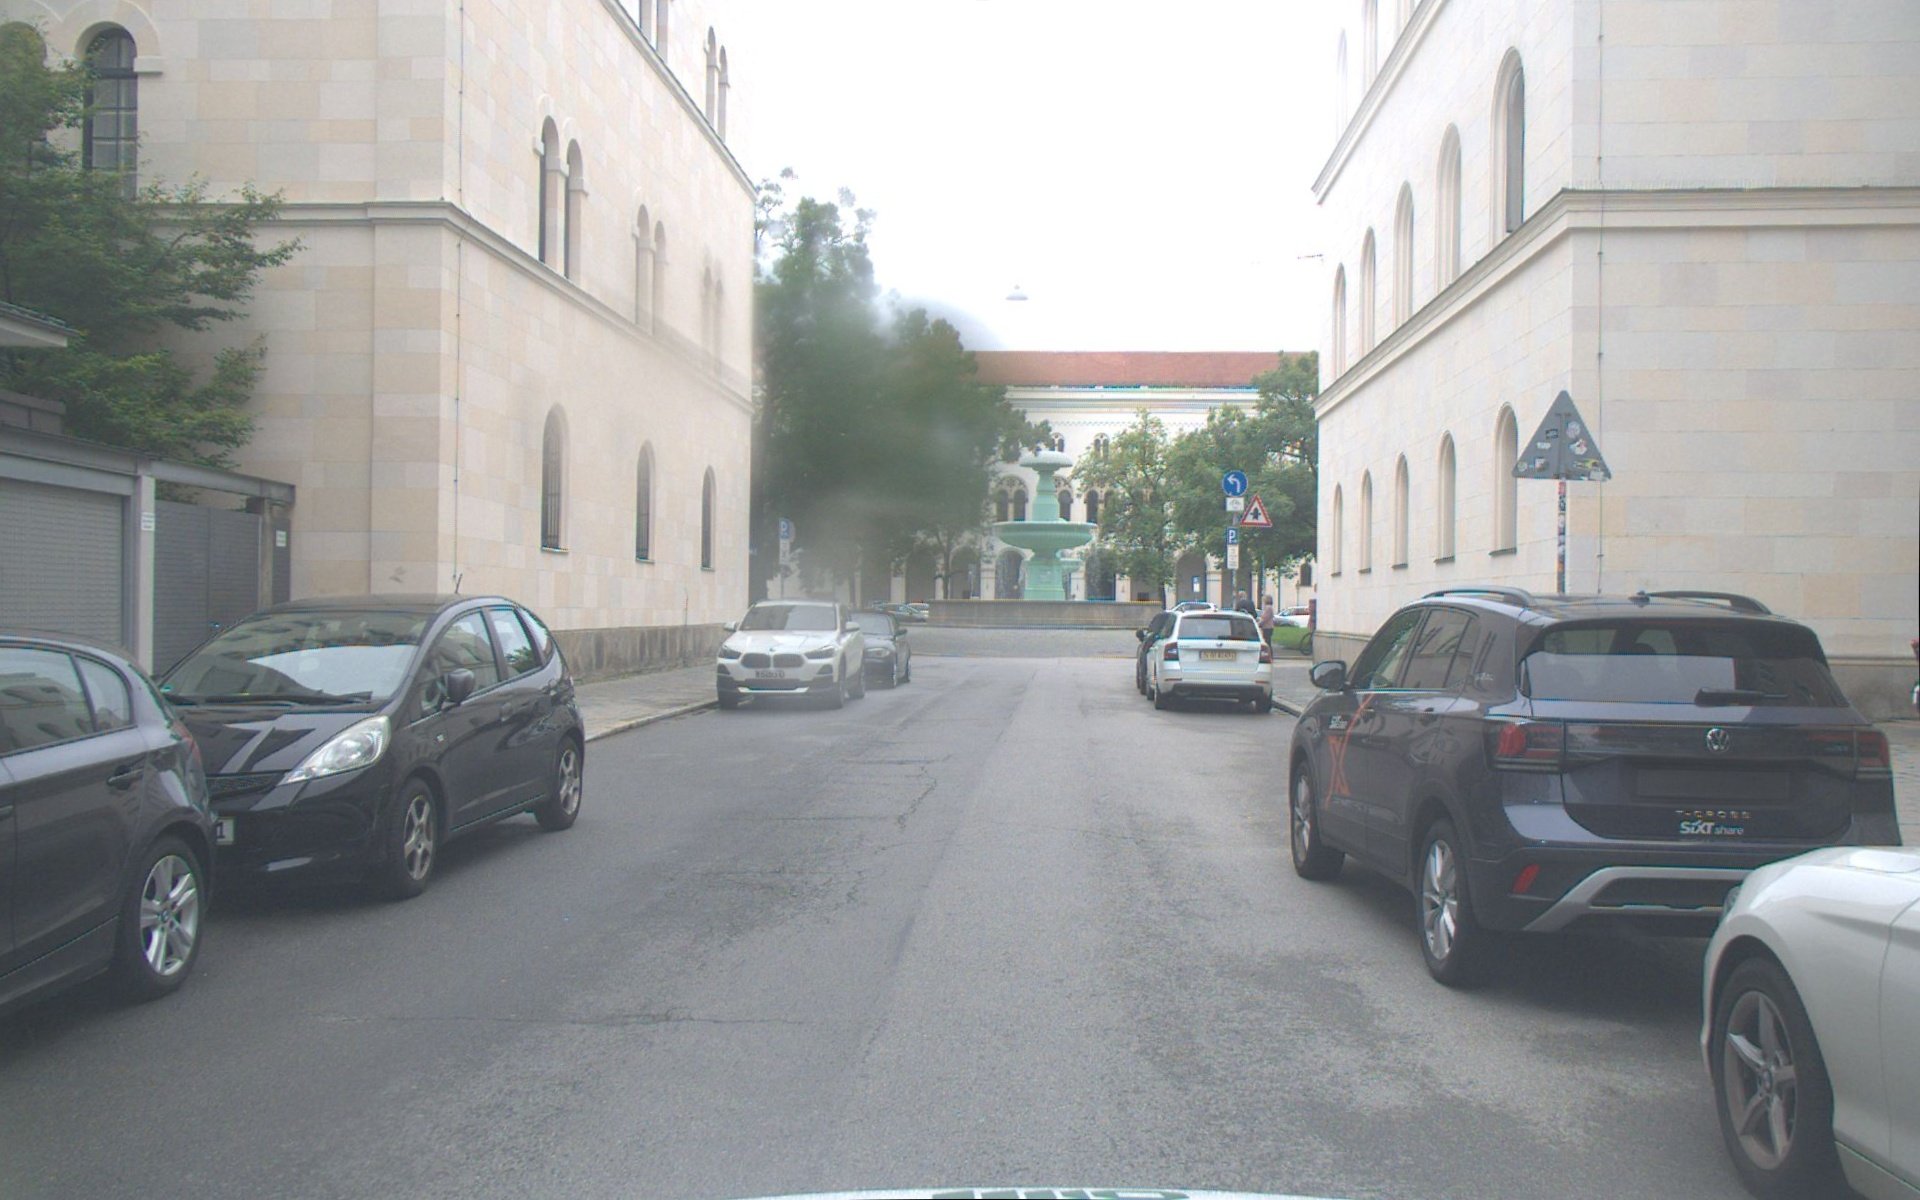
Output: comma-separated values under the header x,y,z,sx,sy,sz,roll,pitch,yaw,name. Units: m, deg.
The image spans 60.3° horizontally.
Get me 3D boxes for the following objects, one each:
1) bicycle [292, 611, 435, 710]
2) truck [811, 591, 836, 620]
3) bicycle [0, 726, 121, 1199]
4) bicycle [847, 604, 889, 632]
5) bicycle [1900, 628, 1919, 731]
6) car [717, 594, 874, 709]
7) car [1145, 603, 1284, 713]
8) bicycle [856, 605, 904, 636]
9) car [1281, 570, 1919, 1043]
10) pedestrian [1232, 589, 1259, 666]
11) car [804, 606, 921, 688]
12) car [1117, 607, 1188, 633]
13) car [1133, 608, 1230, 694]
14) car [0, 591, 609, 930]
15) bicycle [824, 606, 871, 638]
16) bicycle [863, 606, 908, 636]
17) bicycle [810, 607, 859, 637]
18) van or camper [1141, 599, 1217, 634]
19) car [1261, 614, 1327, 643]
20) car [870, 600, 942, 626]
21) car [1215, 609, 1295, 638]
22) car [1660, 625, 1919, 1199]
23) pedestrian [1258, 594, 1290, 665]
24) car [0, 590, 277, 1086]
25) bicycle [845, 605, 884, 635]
x,y,z,sx,sy,sz,roll,pitch,yaw,name
-7.414,0.744,20.557,1.675,1.198,0.476,0,0,13,bicycle
-12.294,0.486,148.881,1.956,2.532,3.994,1,0,-7,truck
-2.041,0.864,2.396,0.635,1.218,1.950,0,0,1,bicycle
-3.664,0.714,65.934,1.503,1.037,0.699,1,0,15,bicycle
10.698,0.817,17.185,1.595,1.060,0.349,-1,0,8,bicycle
-2.380,0.744,24.914,1.741,1.562,4.213,-1,-1,2,car
3.821,0.823,25.436,1.752,1.502,4.315,2,0,4,car
-3.059,0.772,63.269,1.673,1.118,0.699,1,0,15,bicycle
2.721,0.730,7.789,1.711,1.621,3.956,1,0,1,car
6.907,0.652,40.040,0.628,1.840,0.489,1,0,9,pedestrian
-1.760,0.852,31.141,1.663,1.417,4.213,-1,-1,4,car
10.799,1.110,92.833,3.902,1.427,1.826,0,0,6,car
3.987,0.888,30.158,1.508,1.451,3.774,1,0,4,car
-3.427,0.720,9.487,1.714,1.479,4.017,-1,1,4,car
-4.179,0.819,61.592,1.584,1.118,0.699,1,0,15,bicycle
-2.879,0.811,63.982,1.584,1.118,0.617,1,0,15,bicycle
-4.557,0.796,60.079,1.584,1.054,0.699,1,0,15,bicycle
13.701,1.039,103.587,4.485,2.049,2.000,-2,-1,1,van or camper
22.246,1.899,110.275,4.013,1.772,1.746,1,0,0,car
-3.028,0.726,93.678,3.904,1.400,2.001,0,0,2,car
16.477,1.322,92.459,4.265,1.551,1.805,0,0,5,car
2.842,0.815,2.794,1.638,1.442,4.202,1,0,2,car
7.658,0.709,40.327,0.608,1.711,0.545,2,0,-2,pedestrian
-3.761,0.739,4.883,1.714,1.479,4.016,-1,1,1,car
-3.769,0.791,65.164,1.371,1.118,0.657,1,0,15,bicycle
